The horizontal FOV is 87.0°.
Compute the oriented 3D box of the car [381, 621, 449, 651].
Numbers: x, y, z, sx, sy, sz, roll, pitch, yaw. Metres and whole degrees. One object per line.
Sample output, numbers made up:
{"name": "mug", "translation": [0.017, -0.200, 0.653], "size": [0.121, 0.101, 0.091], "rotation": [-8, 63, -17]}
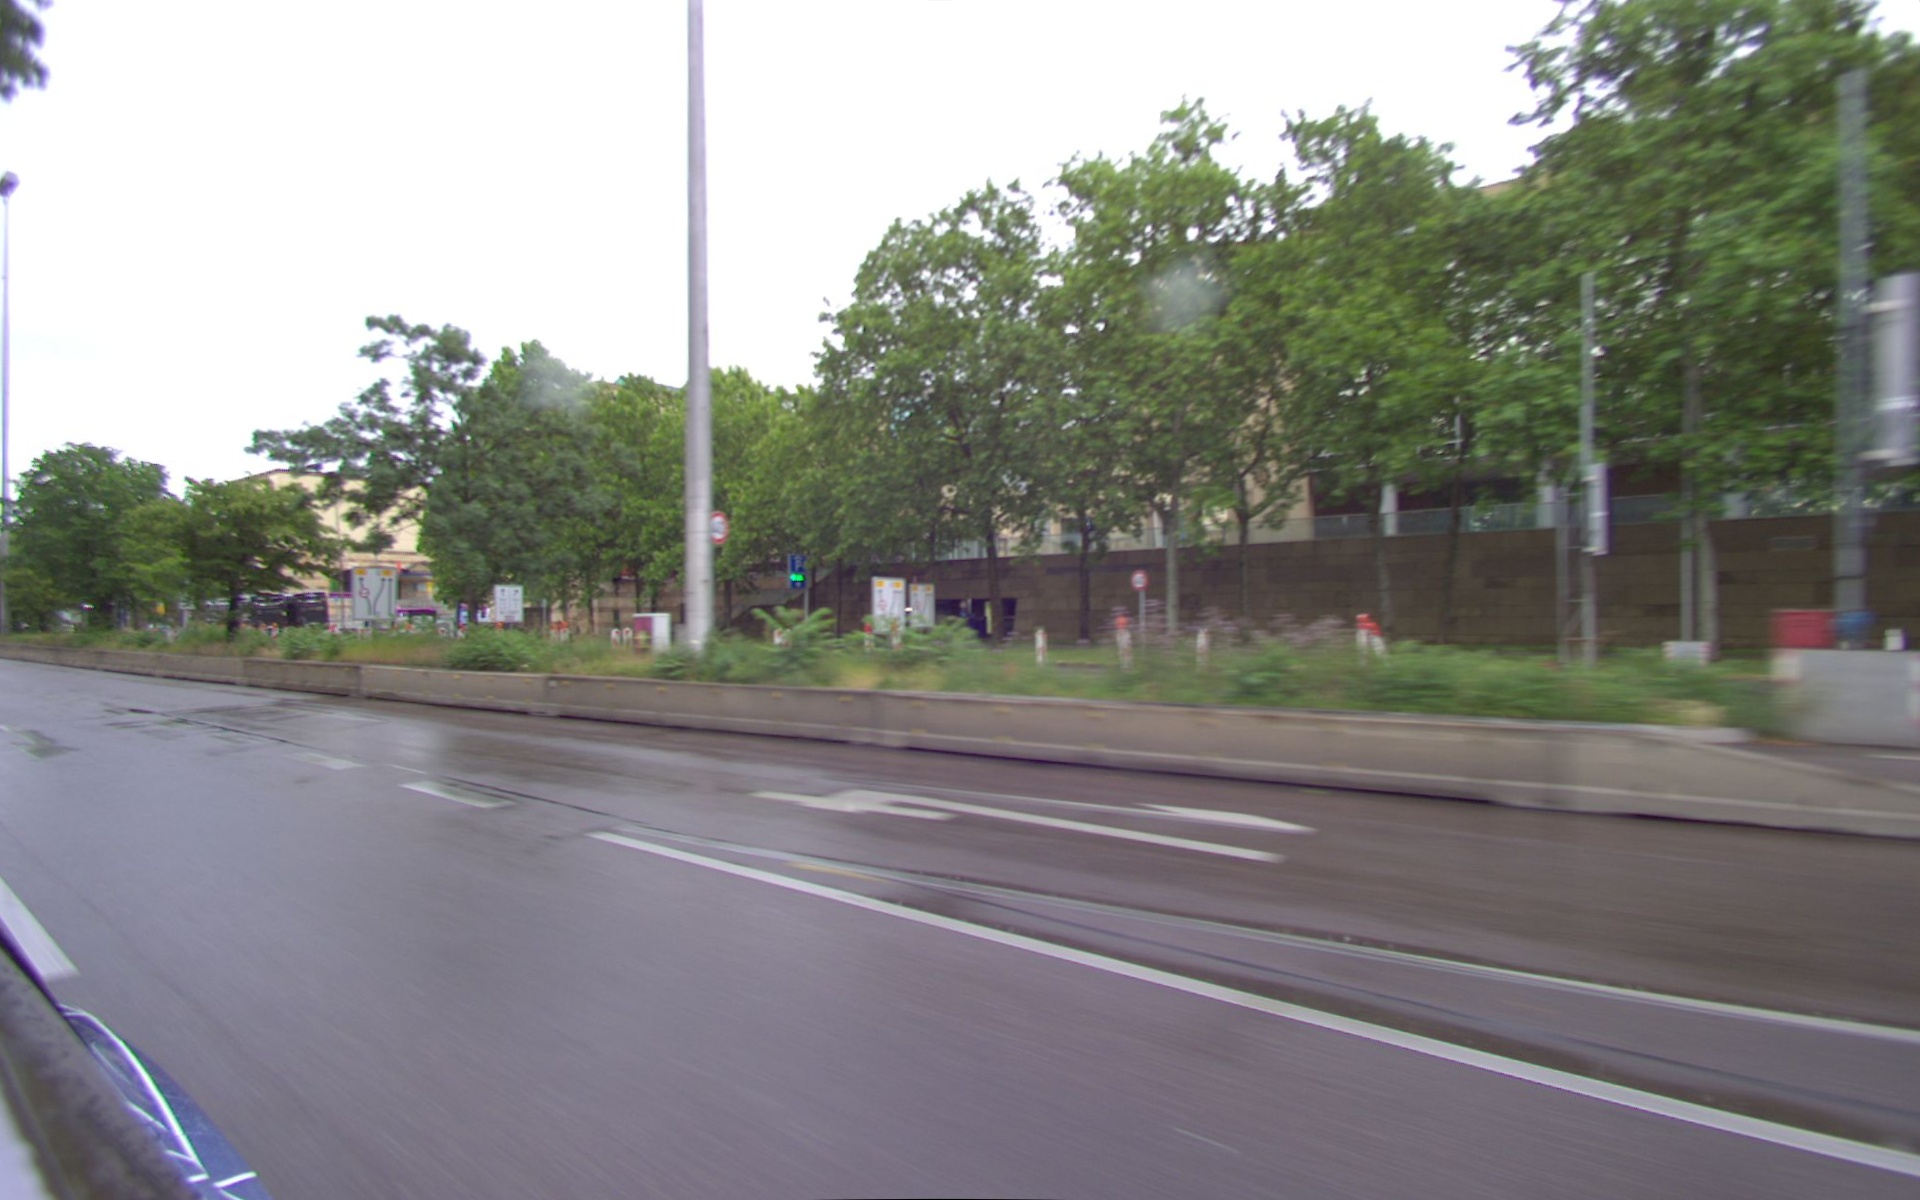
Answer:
{"name": "car", "translation": [-30.430, 1.994, 56.520], "size": [3.997, 1.541, 1.973], "rotation": [0, -2, 40]}

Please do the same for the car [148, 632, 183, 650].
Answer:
{"name": "car", "translation": [-70.987, 3.677, 90.435], "size": [3.207, 1.512, 1.578], "rotation": [-1, 0, 35]}

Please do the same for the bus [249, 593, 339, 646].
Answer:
{"name": "bus", "translation": [-59.263, 1.741, 89.810], "size": [13.486, 4.284, 3.087], "rotation": [-1, 0, 41]}

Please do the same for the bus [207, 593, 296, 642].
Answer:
{"name": "bus", "translation": [-60.880, 1.535, 86.732], "size": [14.589, 3.840, 2.775], "rotation": [-1, 0, 41]}
